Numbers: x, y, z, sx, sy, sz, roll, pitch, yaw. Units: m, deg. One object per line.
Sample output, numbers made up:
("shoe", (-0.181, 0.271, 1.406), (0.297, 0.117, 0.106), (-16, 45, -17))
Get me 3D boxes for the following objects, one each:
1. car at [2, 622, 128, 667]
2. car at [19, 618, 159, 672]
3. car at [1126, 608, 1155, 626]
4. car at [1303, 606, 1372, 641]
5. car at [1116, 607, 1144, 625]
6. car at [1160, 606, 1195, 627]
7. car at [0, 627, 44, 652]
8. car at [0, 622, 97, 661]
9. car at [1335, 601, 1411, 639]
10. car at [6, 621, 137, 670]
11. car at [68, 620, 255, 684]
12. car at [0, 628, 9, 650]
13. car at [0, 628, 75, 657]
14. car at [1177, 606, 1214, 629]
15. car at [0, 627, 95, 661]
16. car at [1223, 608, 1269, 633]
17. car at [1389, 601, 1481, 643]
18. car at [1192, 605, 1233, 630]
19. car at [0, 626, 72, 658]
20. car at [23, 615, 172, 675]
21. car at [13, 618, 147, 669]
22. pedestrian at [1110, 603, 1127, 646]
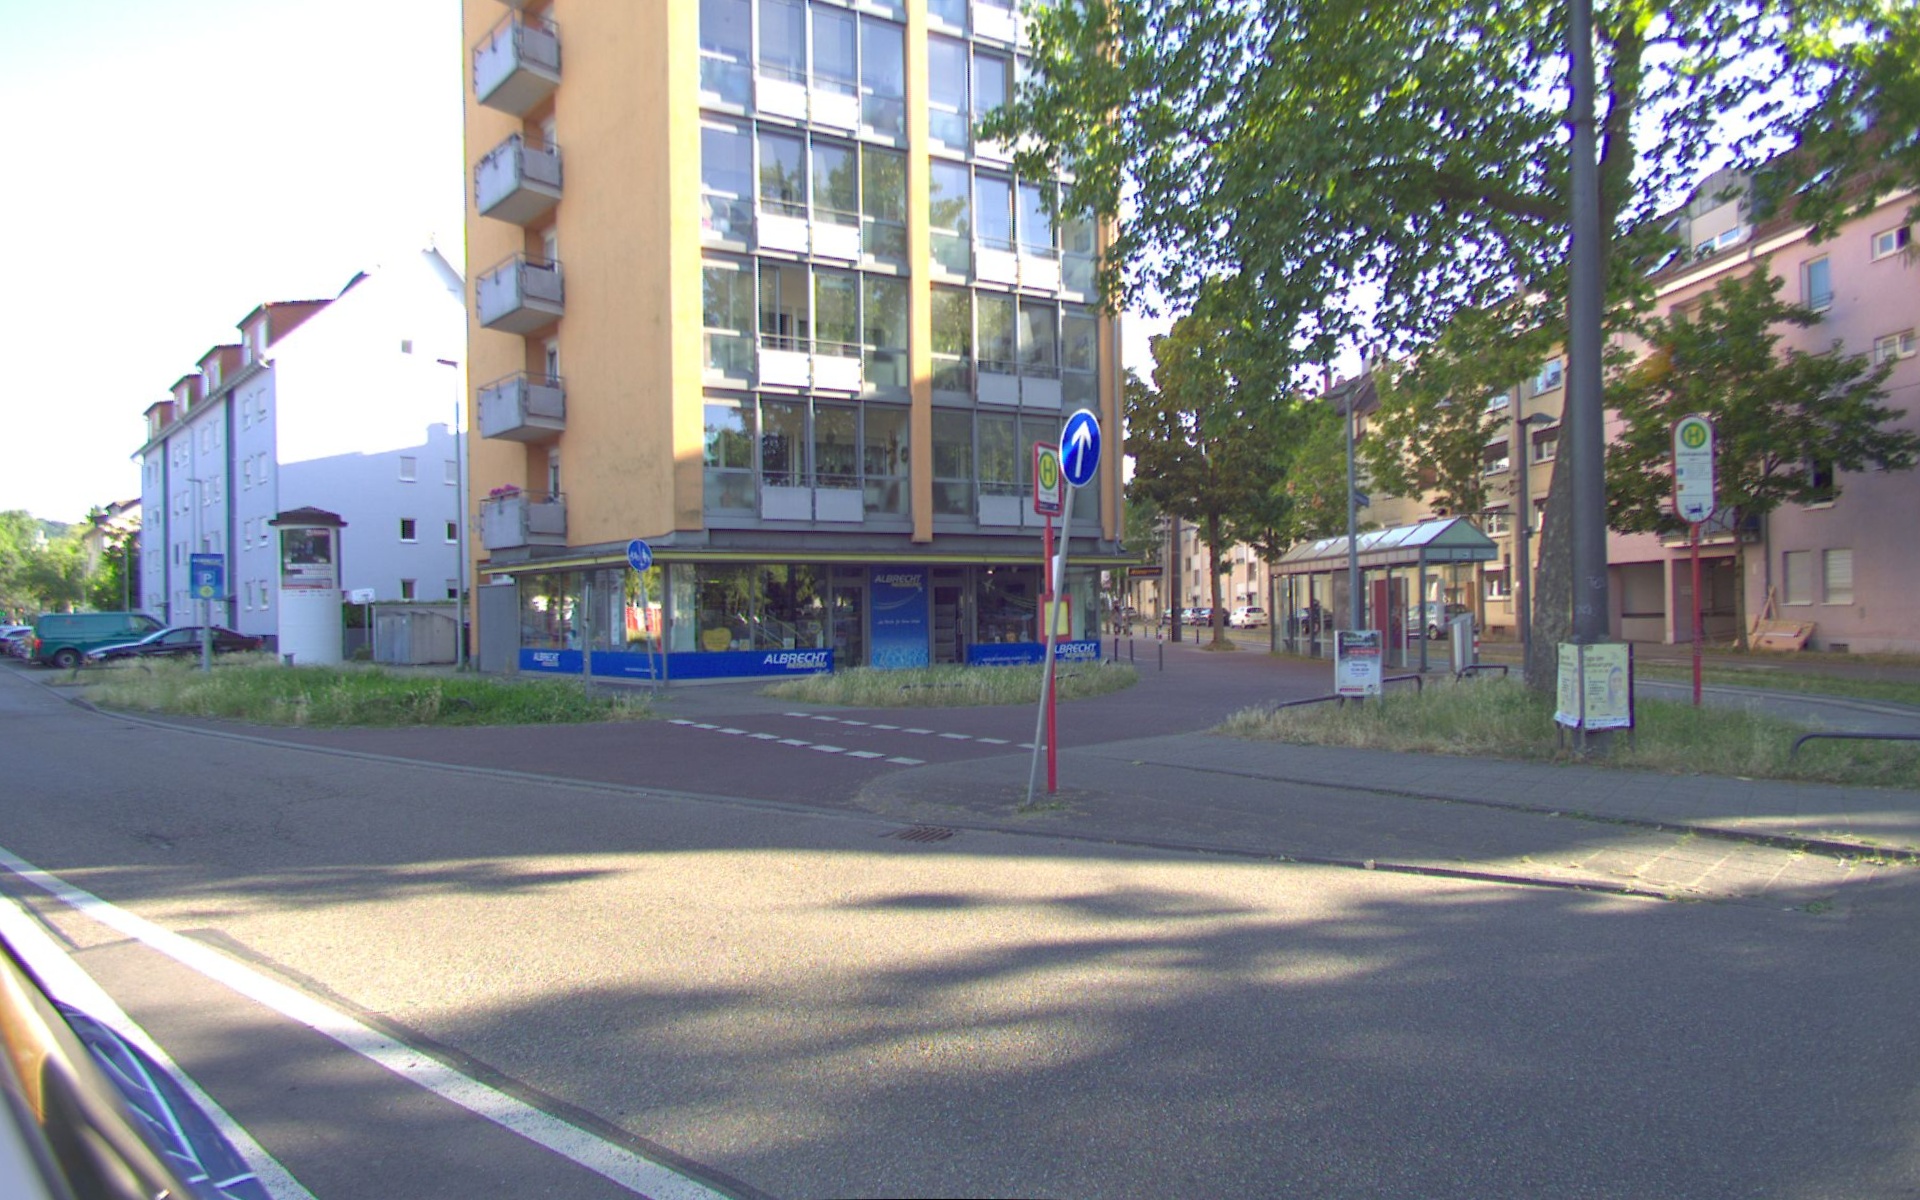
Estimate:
("car", (-38.827, 1.877, 43.933), (4.016, 1.765, 1.900), (-1, 0, -44))
("car", (-33.120, 1.659, 38.534), (3.941, 1.829, 2.001), (-1, 0, -44))
("car", (17.786, 1.649, 99.874), (1.911, 1.719, 4.003), (-1, 0, -3))
("car", (19.917, 1.210, 53.601), (1.911, 1.719, 4.115), (-1, 0, -3))
("car", (17.736, 1.650, 105.548), (1.911, 1.719, 4.372), (-1, 0, -3))
("car", (18.432, 1.404, 85.802), (1.830, 1.719, 4.170), (-1, 0, -3))
("car", (-63.495, 2.620, 66.998), (4.199, 1.585, 1.867), (-1, 0, -44))
("car", (-46.117, 2.051, 50.869), (4.061, 1.785, 1.758), (-1, 0, -44))
("car", (19.906, 0.925, 48.988), (1.911, 1.719, 3.827), (-1, 0, -3))
("car", (-36.858, 1.819, 42.015), (4.003, 1.829, 1.938), (-1, 0, -44))
("car", (-24.272, 1.518, 30.868), (4.361, 1.674, 2.003), (-1, 0, -41))
("car", (-74.758, 3.006, 76.967), (3.490, 1.585, 1.867), (-1, 0, -44))
("car", (-55.659, 2.517, 60.385), (4.199, 1.585, 1.867), (-1, 0, -44))
("car", (18.644, 1.361, 80.348), (1.771, 1.719, 4.170), (-1, 0, -3))
("car", (-48.120, 2.288, 52.961), (4.199, 1.585, 1.867), (-1, 0, -44))
("car", (19.173, 1.355, 68.053), (1.741, 1.588, 4.049), (-1, 0, -3))
("car", (20.746, 0.914, 44.434), (1.911, 1.719, 4.115), (-1, 0, -3))
("car", (18.706, 1.276, 75.158), (1.808, 1.719, 4.059), (-1, 0, -3))
("car", (-55.792, 2.488, 60.439), (4.016, 1.765, 1.900), (-1, 0, -44))
("car", (-31.215, 1.568, 36.691), (2.001, 1.962, 3.942), (-1, 0, 44))
("car", (-35.120, 1.685, 40.437), (3.941, 1.829, 2.001), (-1, 0, -44))
("pedestrian", (6.634, 1.008, 42.303), (0.622, 1.763, 0.689), (-1, 0, 6))
